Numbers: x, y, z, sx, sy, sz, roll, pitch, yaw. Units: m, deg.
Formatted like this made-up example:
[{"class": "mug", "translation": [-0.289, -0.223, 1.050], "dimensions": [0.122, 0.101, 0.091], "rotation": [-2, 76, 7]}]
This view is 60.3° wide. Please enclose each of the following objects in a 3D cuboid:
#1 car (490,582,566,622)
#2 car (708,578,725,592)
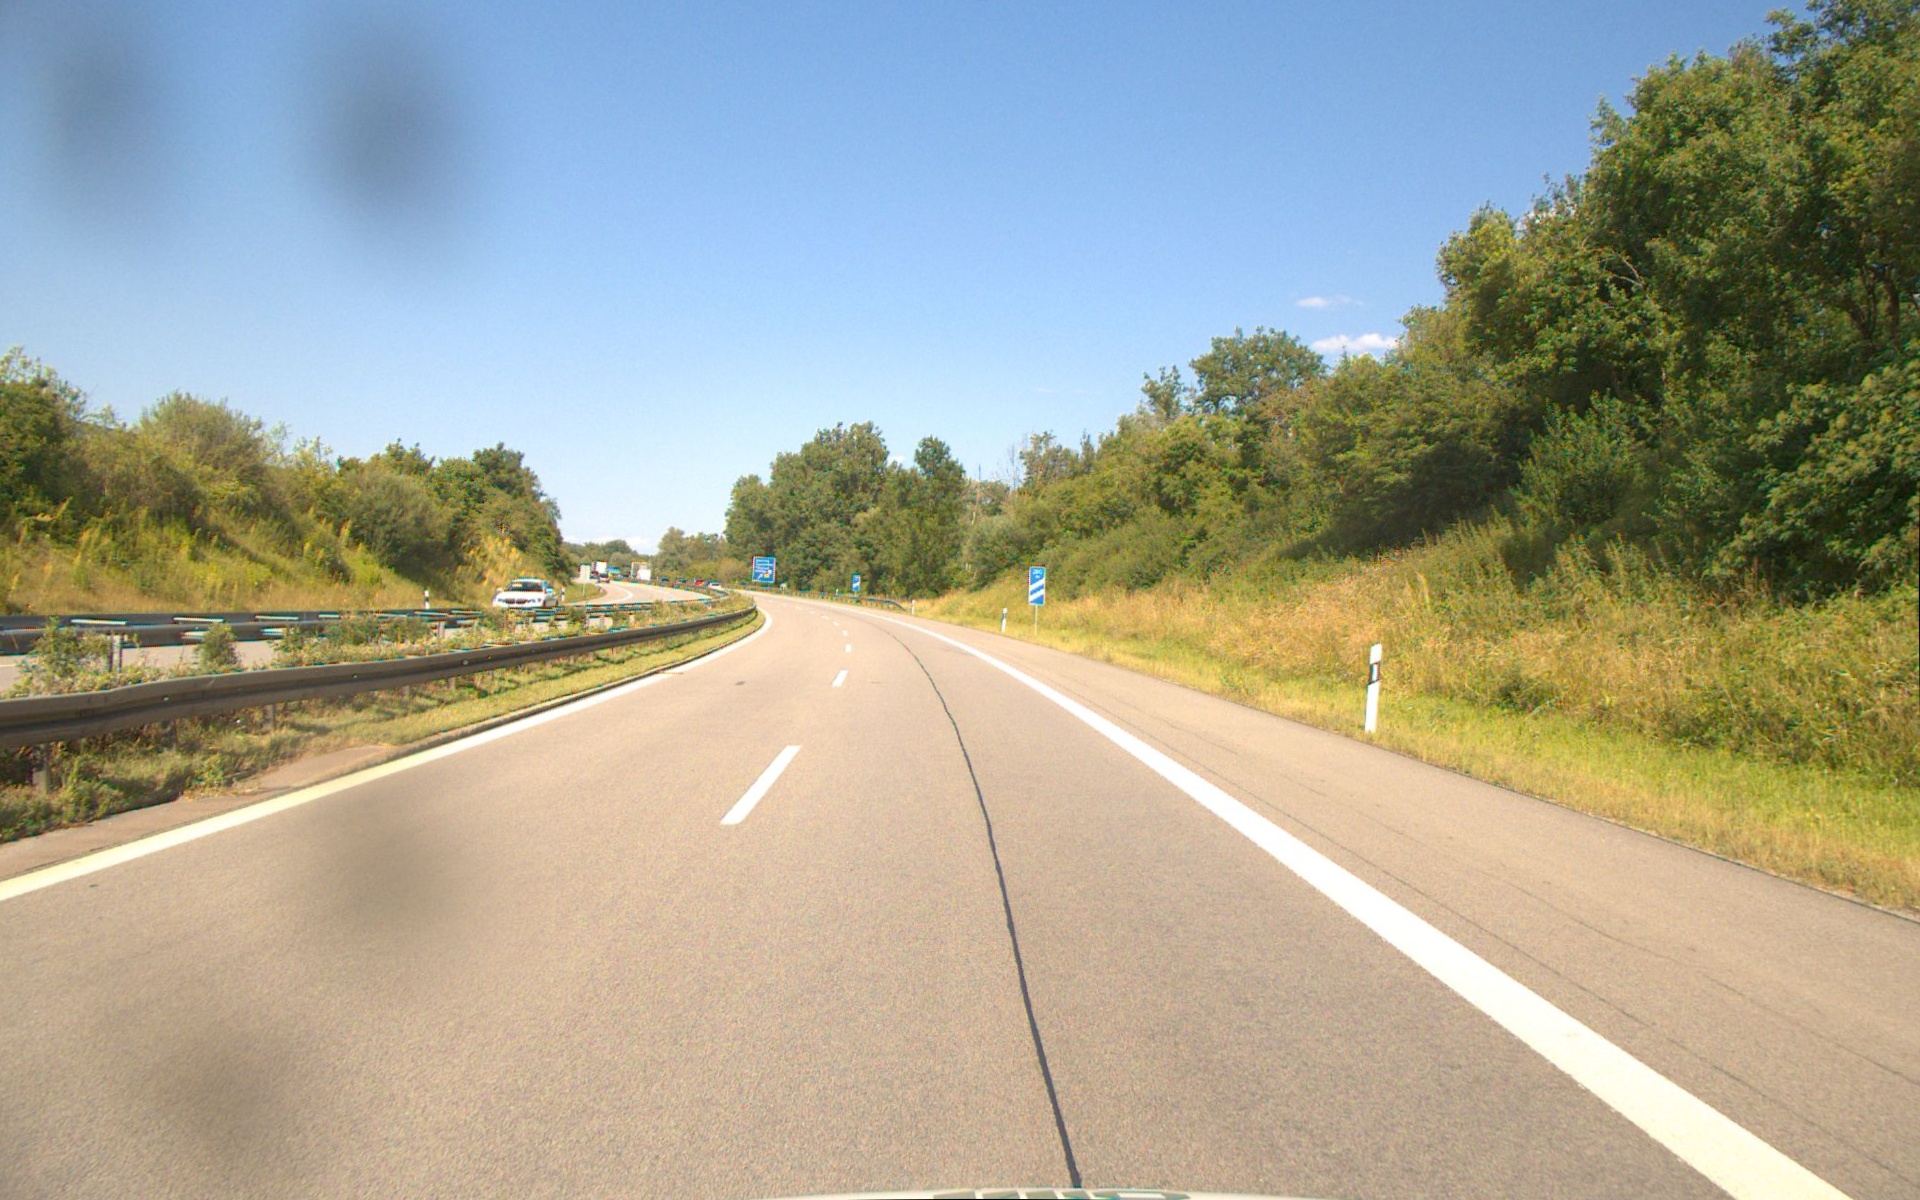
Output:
[{"class": "car", "translation": [-16.033, 0.050, 61.563], "dimensions": [1.862, 1.447, 4.396], "rotation": [0, 1, -3]}, {"class": "car", "translation": [-32.040, -1.974, 217.539], "dimensions": [2.025, 1.653, 3.989], "rotation": [2, -2, -11]}]
